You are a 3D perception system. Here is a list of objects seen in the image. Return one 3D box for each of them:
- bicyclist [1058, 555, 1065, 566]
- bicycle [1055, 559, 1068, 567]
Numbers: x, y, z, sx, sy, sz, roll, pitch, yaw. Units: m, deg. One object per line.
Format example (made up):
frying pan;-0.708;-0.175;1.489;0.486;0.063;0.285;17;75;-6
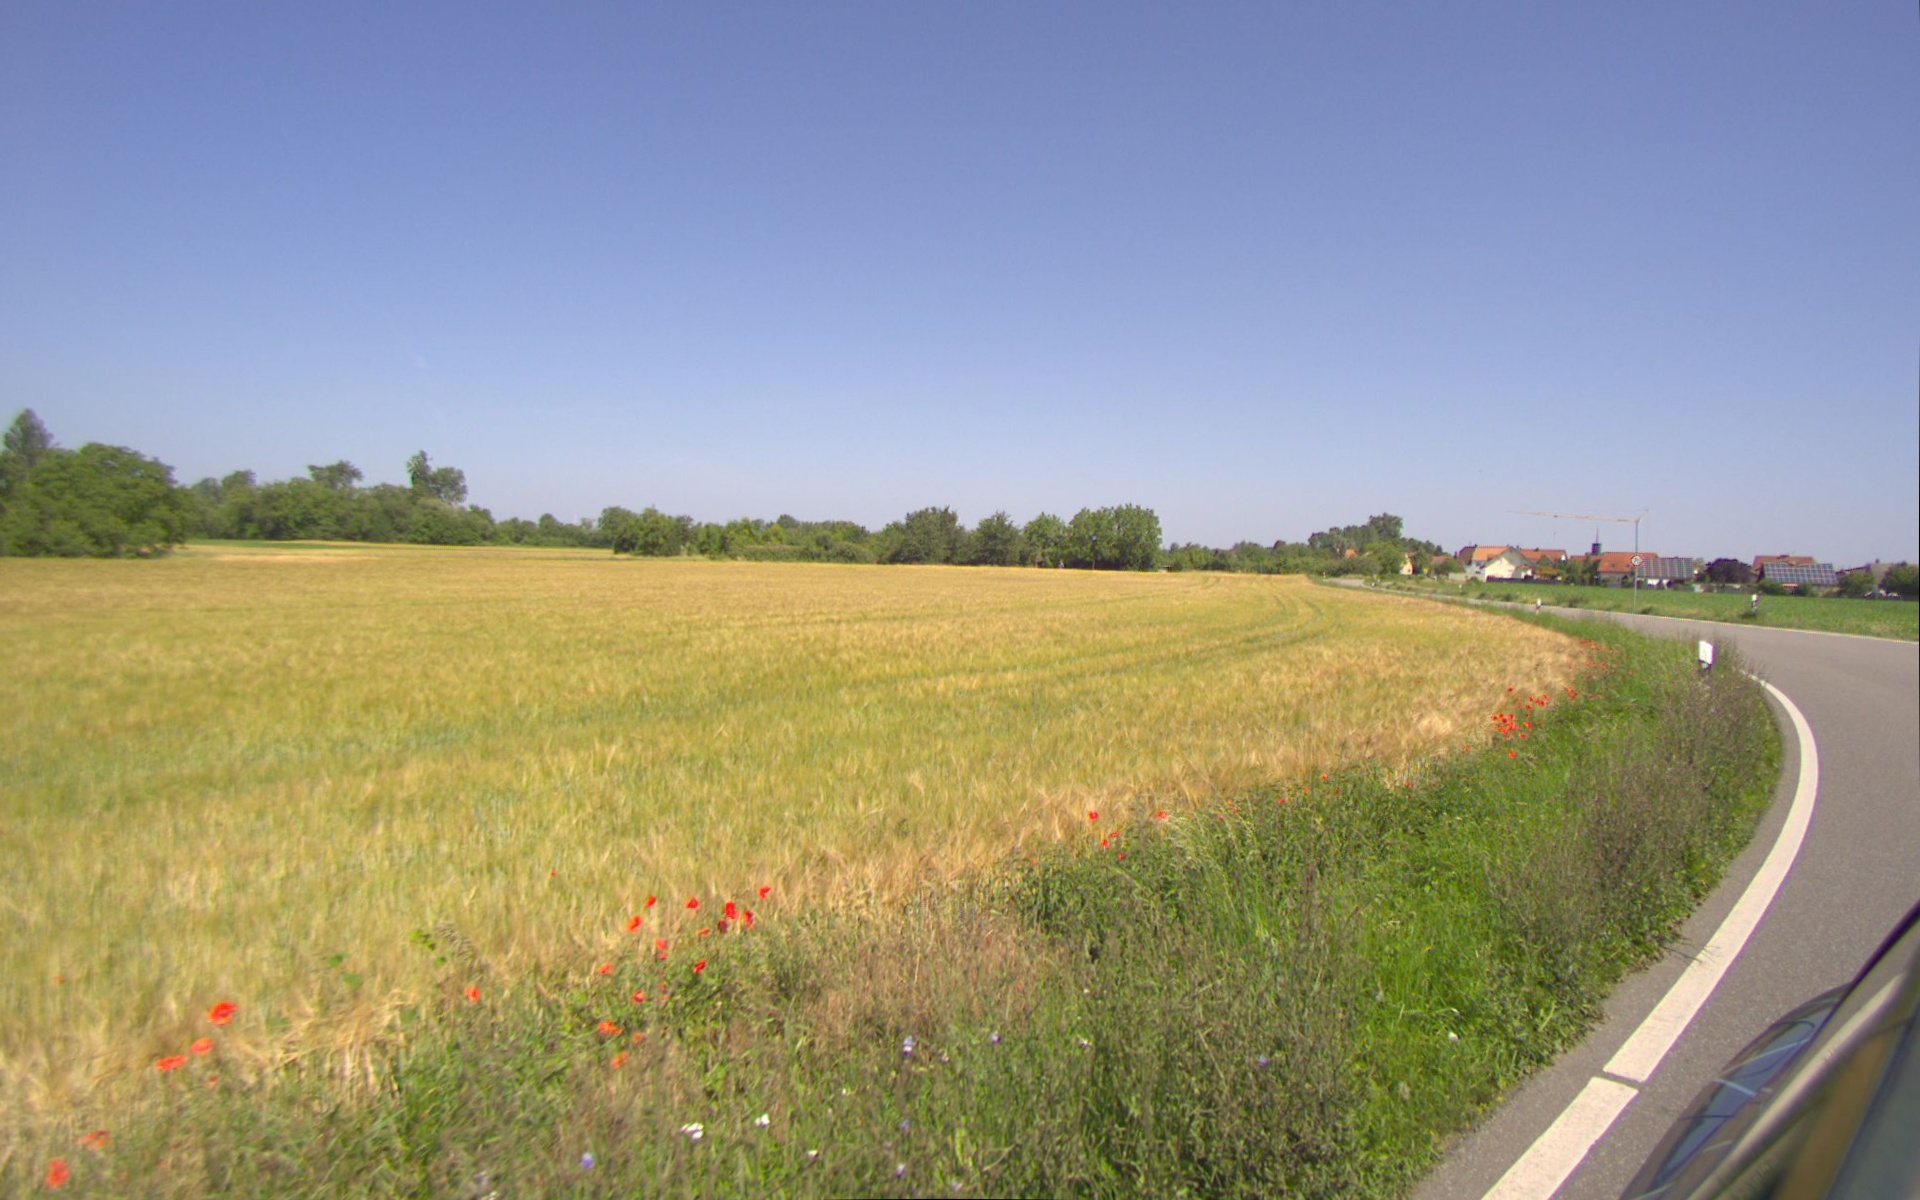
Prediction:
bicyclist;14.826;-5.798;147.707;0.720;1.593;0.676;1;2;-18
bicycle;14.812;-5.396;147.722;1.732;1.129;0.523;1;2;-18
